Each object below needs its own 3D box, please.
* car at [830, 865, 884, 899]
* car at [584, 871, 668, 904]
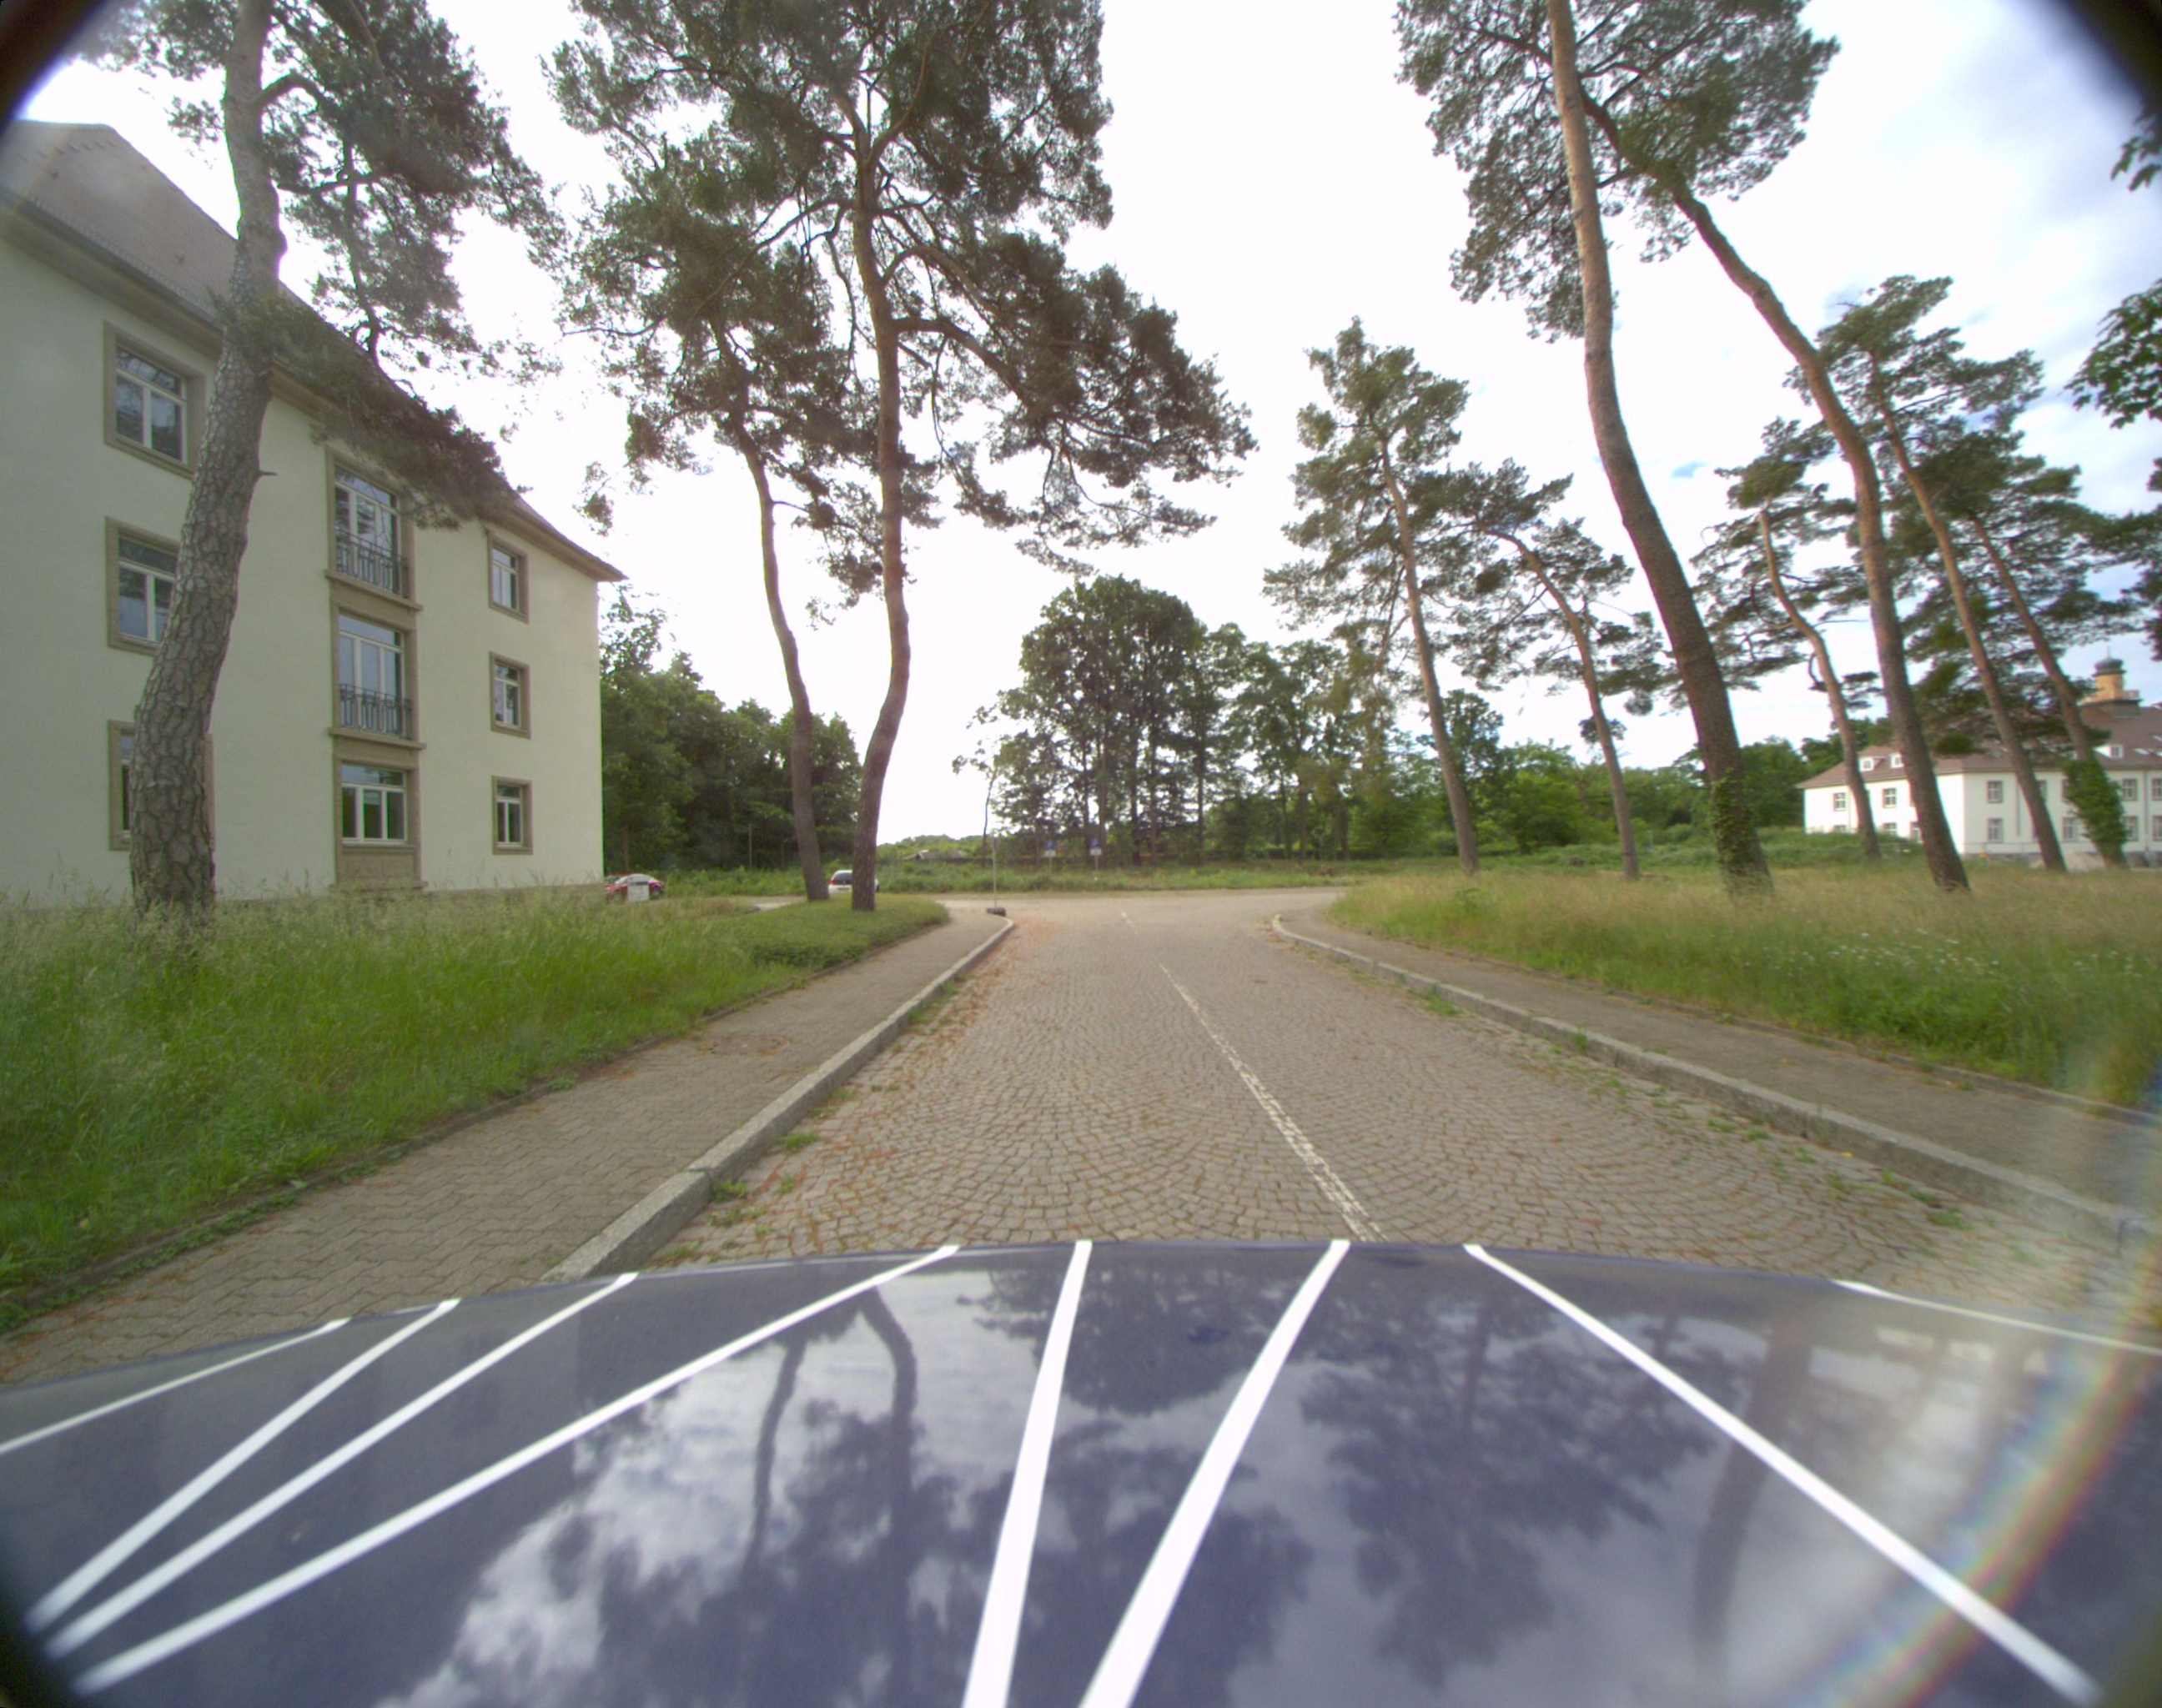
[{"bbox_3d":[-11.113,1.359,37.838,1.641,1.426,3.277,-1,2,1],"label":"car"},{"bbox_3d":[-22.417,1.599,37.621,1.641,1.321,3.999,-1,2,1],"label":"car"}]
